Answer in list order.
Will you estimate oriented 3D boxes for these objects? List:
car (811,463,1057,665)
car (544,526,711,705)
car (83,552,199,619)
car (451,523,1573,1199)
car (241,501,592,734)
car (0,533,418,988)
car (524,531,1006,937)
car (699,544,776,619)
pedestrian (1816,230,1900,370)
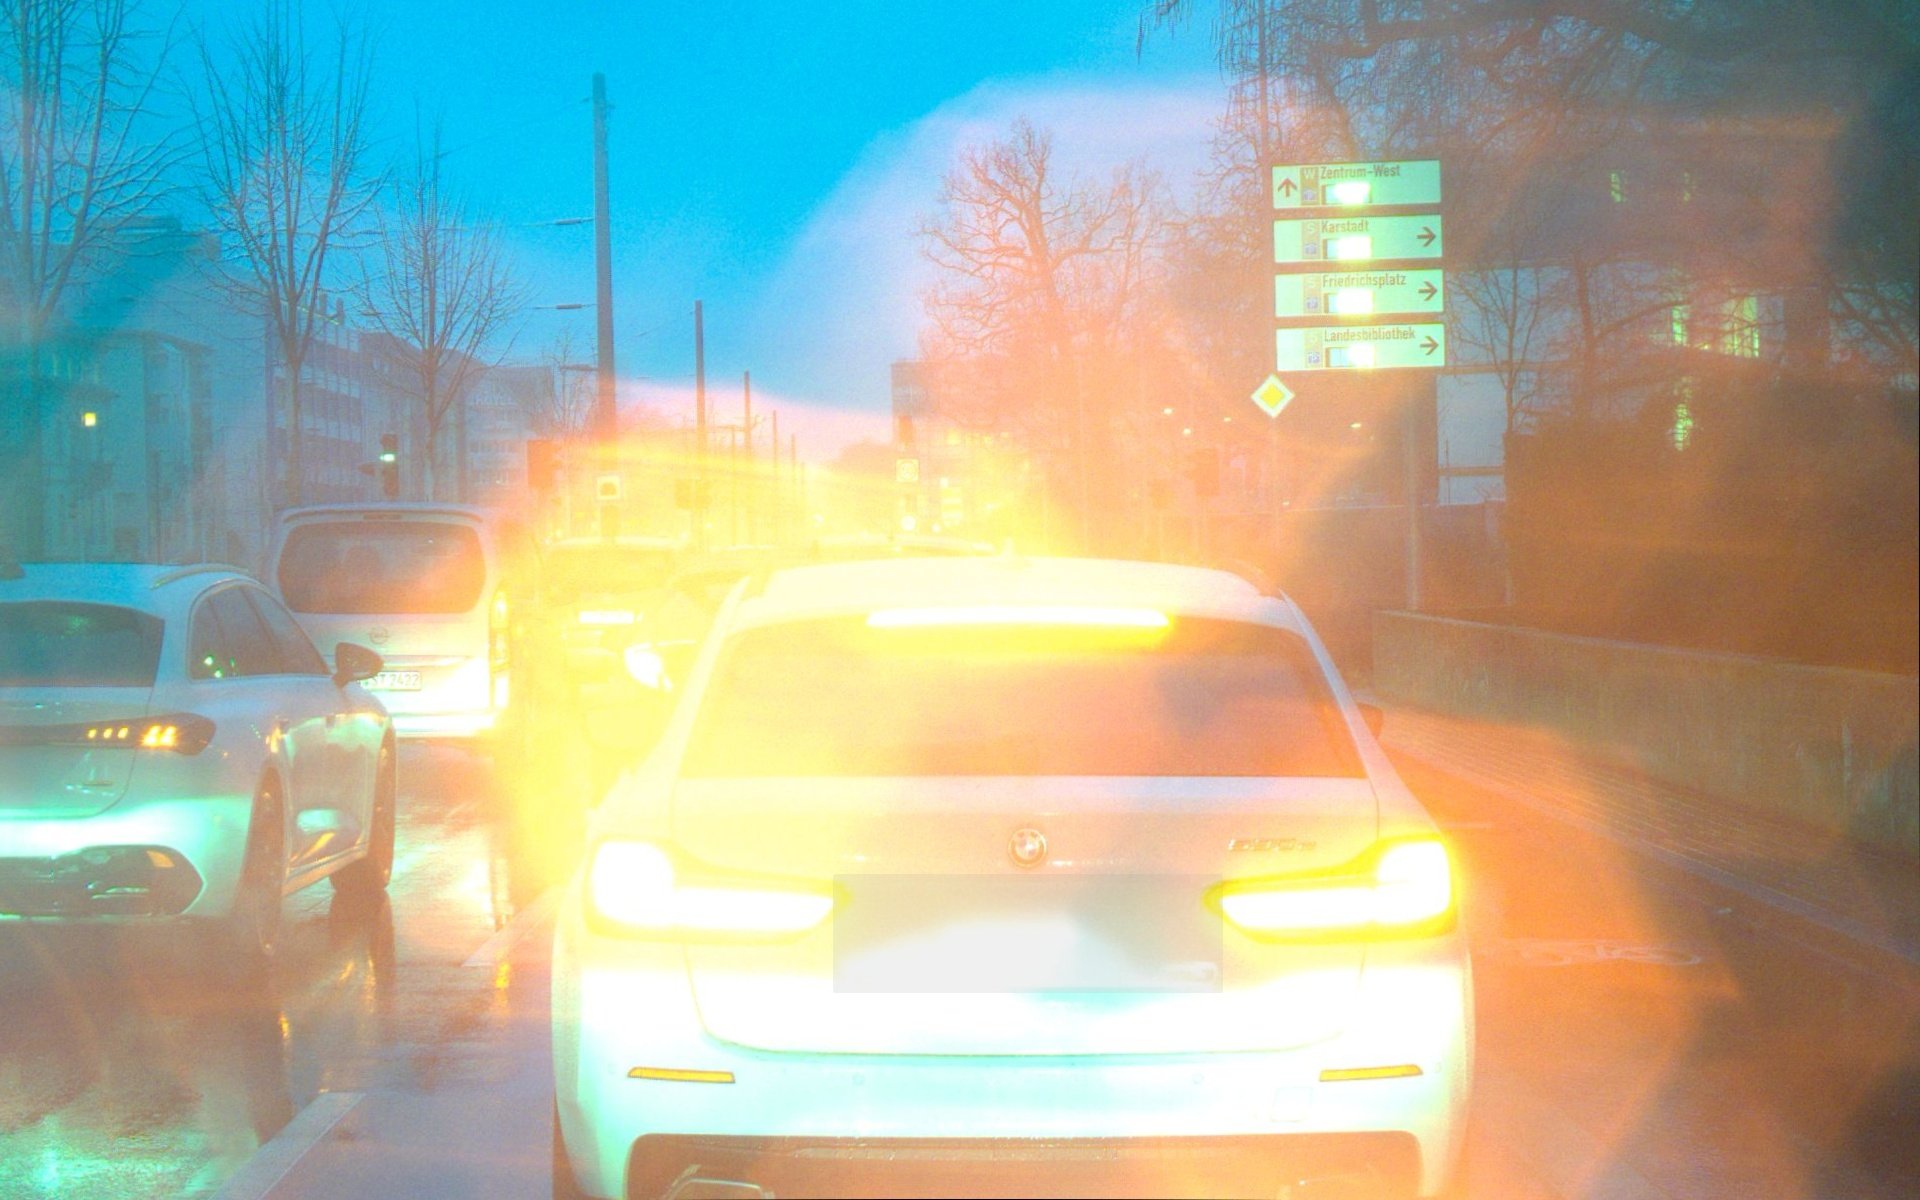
[{"bbox_3d":[-0.207,-0.296,26.628,1.737,1.415,3.703,-1,1,-1],"label":"car"},{"bbox_3d":[-3.194,0.128,33.395,1.505,1.647,2.845,1,1,-4],"label":"car"},{"bbox_3d":[-20.114,-0.369,84.572,1.993,1.597,4.000,1,1,-2],"label":"car"},{"bbox_3d":[0.067,0.619,8.251,1.862,1.550,4.938,-1,1,-1],"label":"car"},{"bbox_3d":[-3.629,0.068,23.673,1.737,1.415,4.394,-1,1,-1],"label":"car"},{"bbox_3d":[-3.371,0.491,13.443,1.799,1.461,4.586,-1,1,-1],"label":"car"},{"bbox_3d":[-0.758,0.479,14.954,1.800,1.505,3.895,-1,1,-1],"label":"car"},{"bbox_3d":[-4.045,-0.348,62.762,1.362,1.312,2.716,1,1,-3],"label":"car"},{"bbox_3d":[13.501,-4.504,51.704,0.959,2.007,1.008,-1,1,0],"label":"pedestrian"}]
